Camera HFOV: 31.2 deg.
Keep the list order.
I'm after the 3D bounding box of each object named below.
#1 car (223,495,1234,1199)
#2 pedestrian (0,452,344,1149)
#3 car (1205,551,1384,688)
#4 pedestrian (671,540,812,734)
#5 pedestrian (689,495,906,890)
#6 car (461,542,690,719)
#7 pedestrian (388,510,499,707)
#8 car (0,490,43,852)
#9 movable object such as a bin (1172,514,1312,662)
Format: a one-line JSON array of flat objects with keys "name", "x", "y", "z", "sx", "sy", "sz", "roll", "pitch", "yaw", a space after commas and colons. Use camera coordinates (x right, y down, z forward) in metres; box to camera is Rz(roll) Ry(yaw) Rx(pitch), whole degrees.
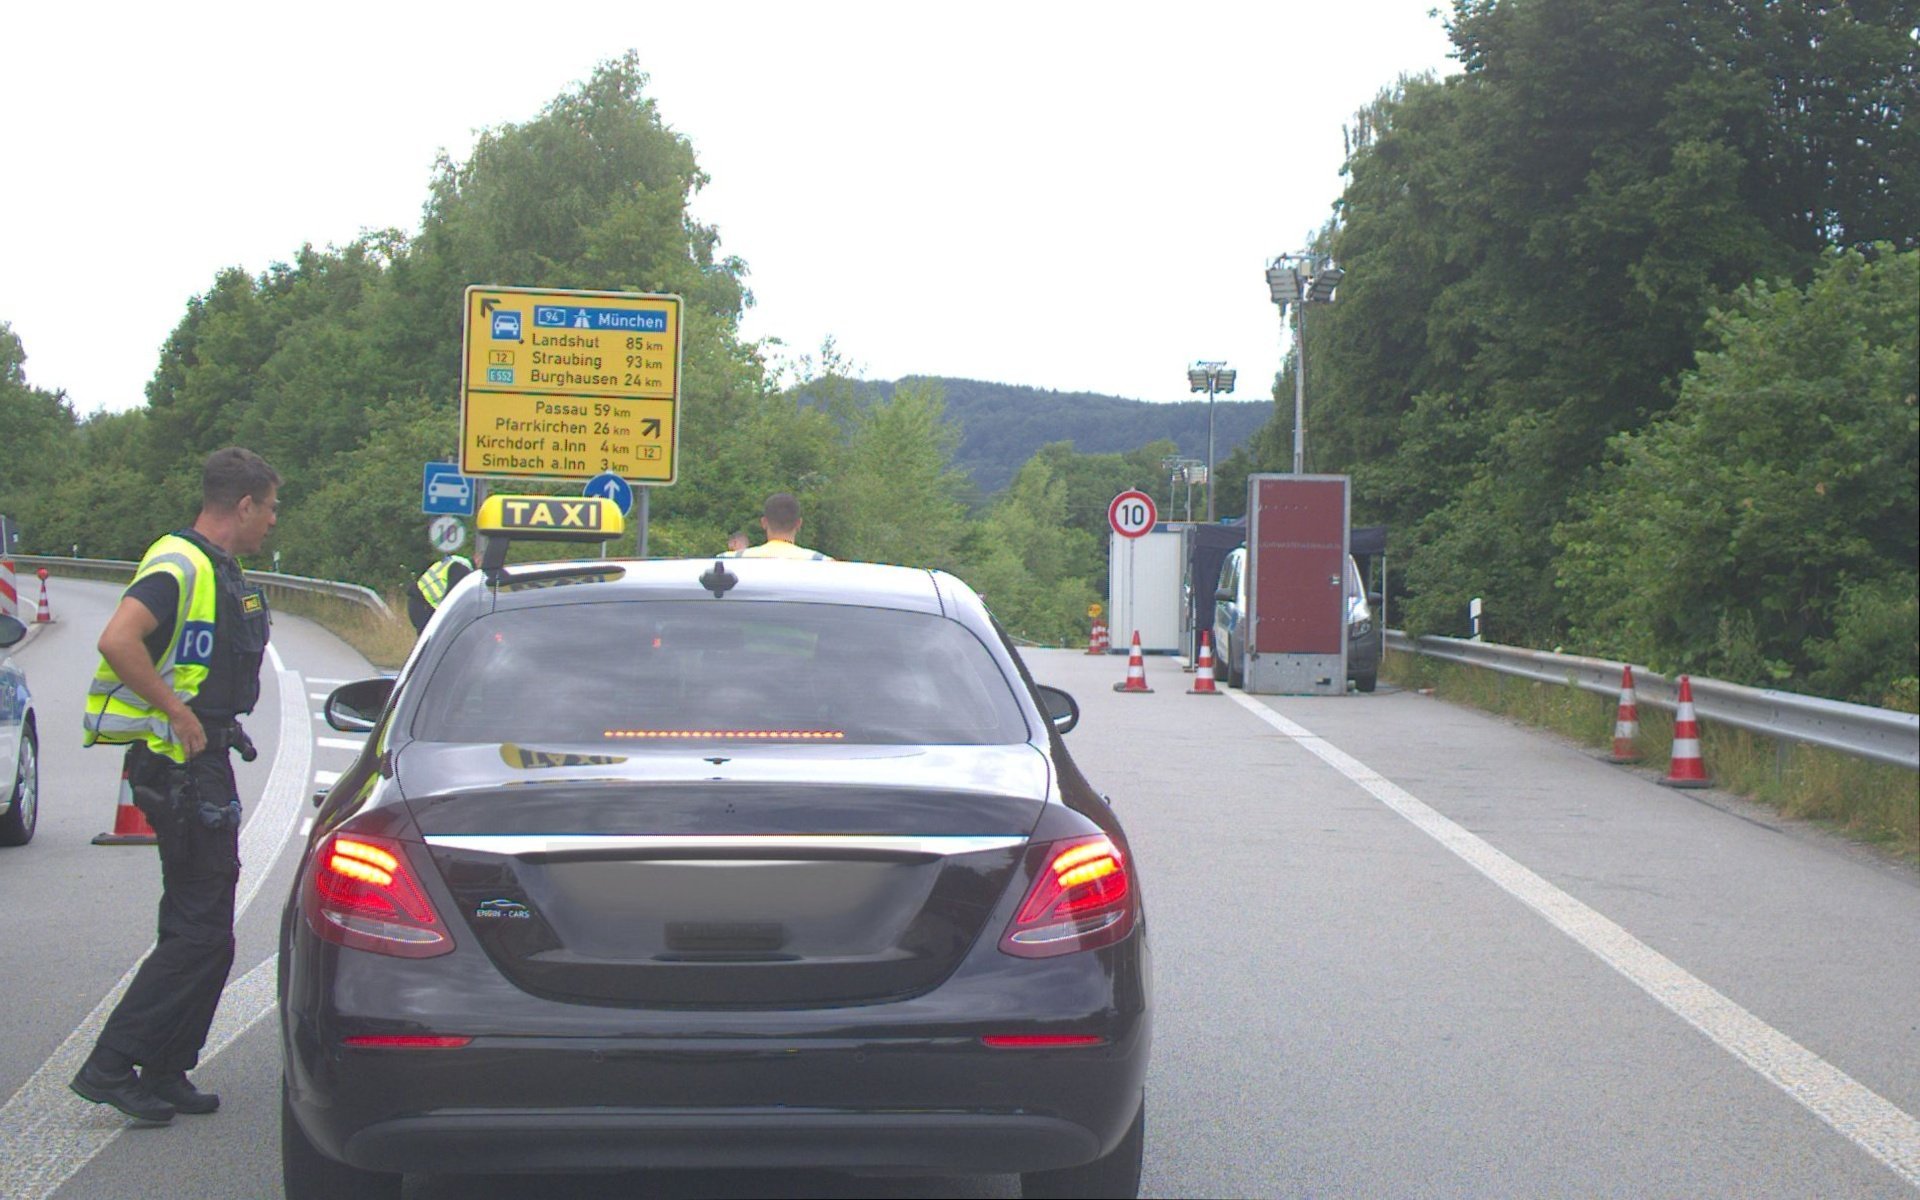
[{"name": "car", "x": -0.623, "y": 0.574, "z": 8.540, "sx": 1.855, "sy": 1.589, "sz": 4.376, "roll": 0, "pitch": 1, "yaw": -5}, {"name": "pedestrian", "x": -2.056, "y": 0.488, "z": 8.826, "sx": 0.815, "sy": 1.712, "sz": 0.762, "roll": 0, "pitch": 1, "yaw": -1}, {"name": "car", "x": 4.455, "y": 0.212, "z": 46.431, "sx": 1.916, "sy": 1.672, "sz": 5.083, "roll": 2, "pitch": 1, "yaw": 1}, {"name": "pedestrian", "x": -1.948, "y": 0.321, "z": 30.639, "sx": 0.908, "sy": 1.692, "sz": 0.914, "roll": 1, "pitch": 0, "yaw": -32}, {"name": "pedestrian", "x": -0.765, "y": 0.419, "z": 16.378, "sx": 0.813, "sy": 1.824, "sz": 0.809, "roll": 0, "pitch": 1, "yaw": 16}, {"name": "car", "x": -3.441, "y": 0.231, "z": 31.396, "sx": 1.855, "sy": 1.493, "sz": 4.257, "roll": 0, "pitch": 1, "yaw": -4}, {"name": "pedestrian", "x": -4.692, "y": 0.070, "z": 31.293, "sx": 0.910, "sy": 1.763, "sz": 0.912, "roll": 1, "pitch": 1, "yaw": -3}, {"name": "car", "x": -5.461, "y": 0.350, "z": 15.487, "sx": 1.868, "sy": 1.737, "sz": 4.009, "roll": 0, "pitch": 1, "yaw": -5}, {"name": "movable object such as a bin", "x": 4.492, "y": -0.213, "z": 55.270, "sx": 1.993, "sy": 2.272, "sz": 4.168, "roll": 1, "pitch": 1, "yaw": 2}]
